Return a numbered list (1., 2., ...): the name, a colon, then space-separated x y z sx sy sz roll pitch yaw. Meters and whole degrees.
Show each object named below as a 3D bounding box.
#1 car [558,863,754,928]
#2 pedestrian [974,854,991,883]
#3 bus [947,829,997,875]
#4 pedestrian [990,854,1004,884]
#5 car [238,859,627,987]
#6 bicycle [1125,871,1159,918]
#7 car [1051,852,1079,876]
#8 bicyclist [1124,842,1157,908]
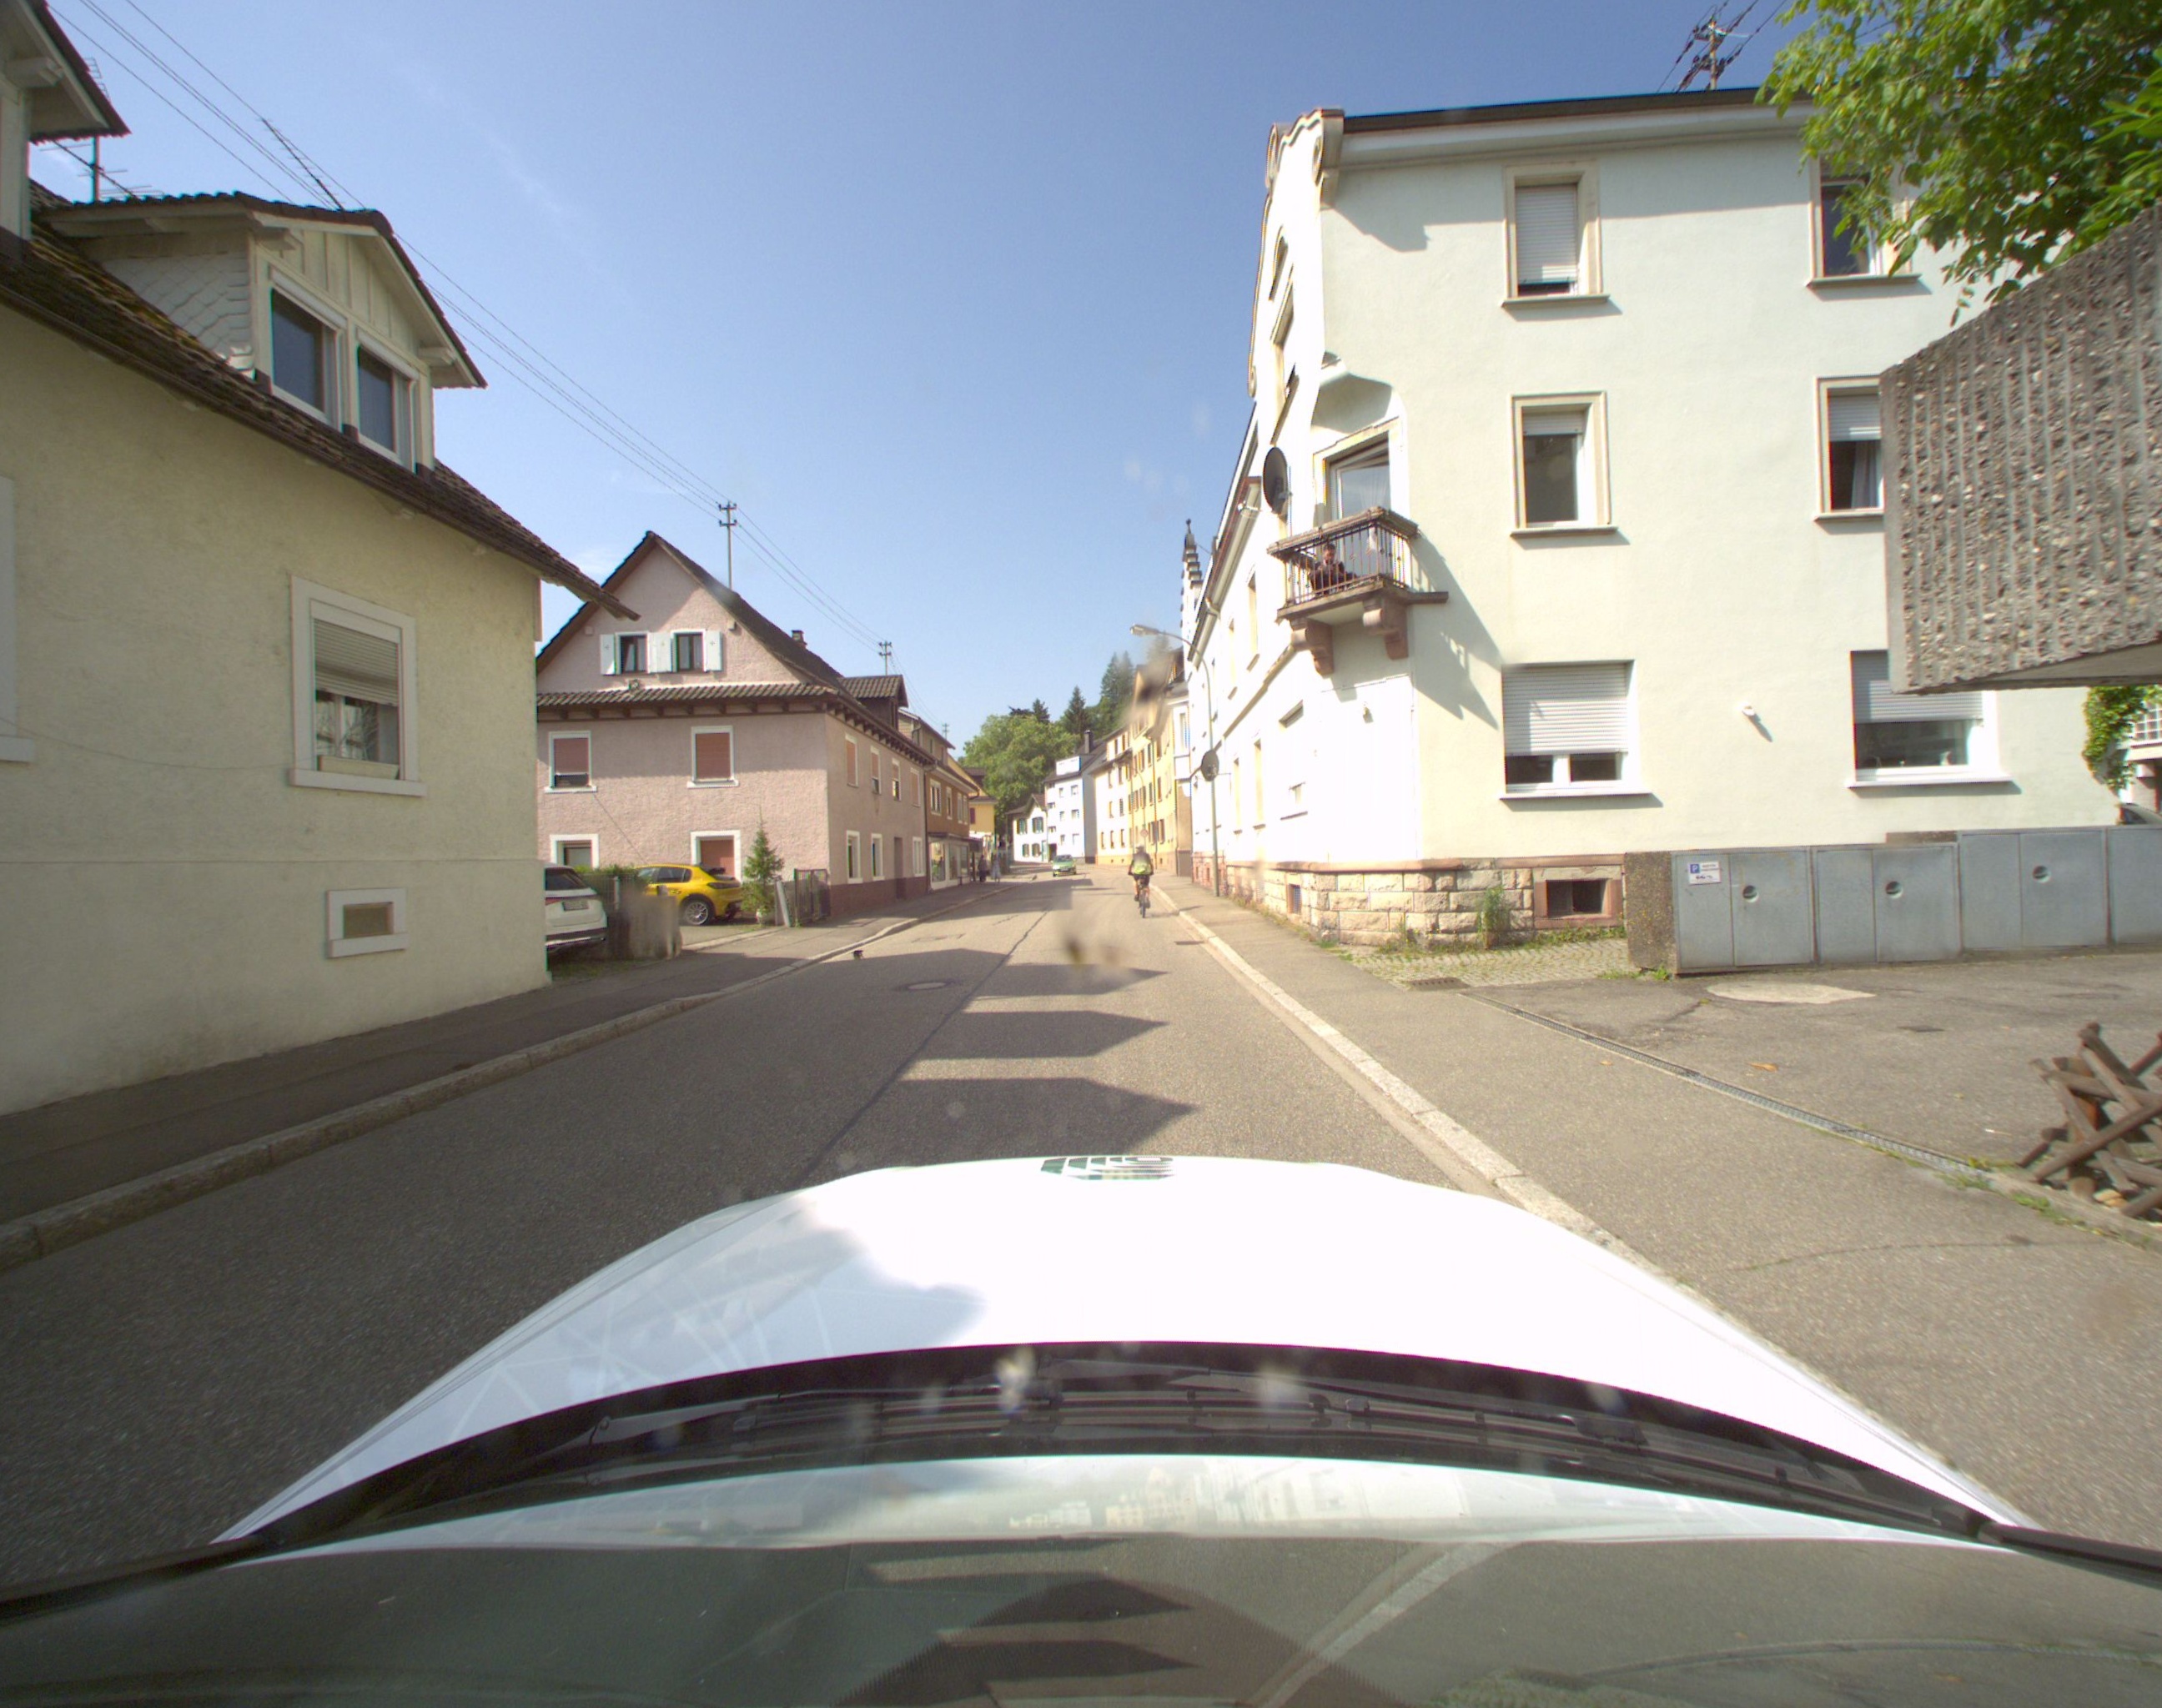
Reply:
1. car: -10.011 0.950 19.392 3.741 1.392 1.644 -1 1 -2
2. pedestrian: -5.438 0.811 45.010 0.732 1.564 0.825 1 0 2
3. bus: -8.067 -0.163 61.387 2.812 3.228 9.030 0 0 -2
4. pedestrian: -4.611 0.825 44.981 0.637 1.626 0.777 1 0 2
5. car: -9.077 0.911 11.699 3.976 1.594 1.906 -1 0 -2
6. bicycle: 1.463 0.957 19.721 0.696 1.035 1.471 -1 0 0
7. car: -1.095 0.689 56.508 1.591 1.464 3.661 -5 0 2
8. bicyclist: 1.430 0.493 19.717 0.683 1.531 0.715 -3 0 -1
